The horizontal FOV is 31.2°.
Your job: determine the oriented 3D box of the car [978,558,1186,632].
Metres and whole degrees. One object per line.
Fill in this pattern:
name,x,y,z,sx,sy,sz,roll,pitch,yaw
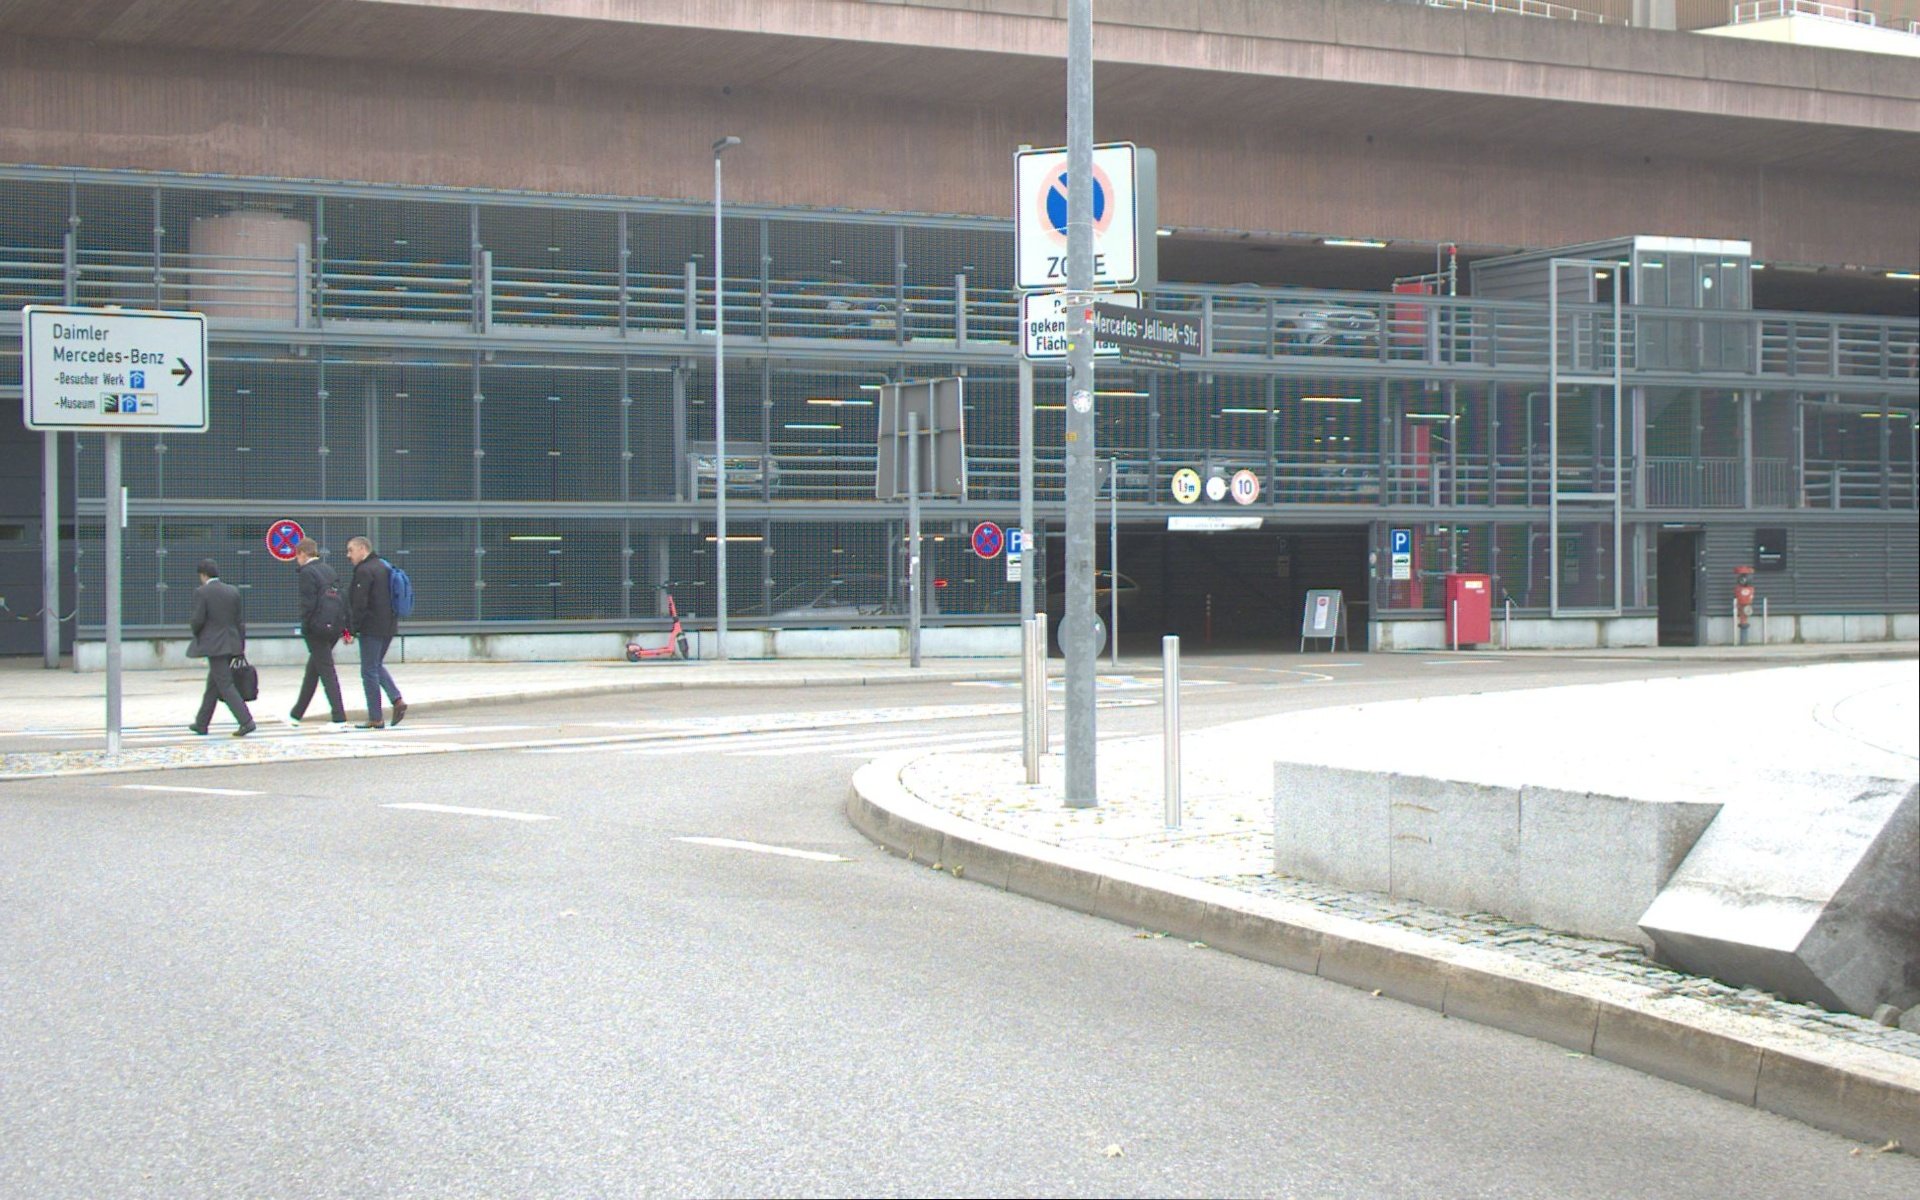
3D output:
car,2.640,-0.119,74.252,4.037,1.568,2.000,0,1,-30

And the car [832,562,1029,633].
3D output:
car,-0.664,-0.078,77.575,3.987,1.568,2.000,0,1,-30

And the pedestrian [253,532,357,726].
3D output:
pedestrian,-5.948,0.261,31.205,0.830,1.735,0.690,0,0,-19

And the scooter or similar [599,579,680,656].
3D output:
scooter or similar,-5.023,0.273,53.883,1.230,1.190,0.356,0,0,-31

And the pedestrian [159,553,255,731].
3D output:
pedestrian,-6.725,0.373,30.711,0.830,1.565,0.690,0,0,-12

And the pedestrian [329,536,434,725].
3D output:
pedestrian,-5.411,0.283,32.121,0.830,1.735,0.690,0,0,-23

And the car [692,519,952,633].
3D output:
car,-2.362,-0.419,58.967,3.987,1.897,2.000,0,1,-30
